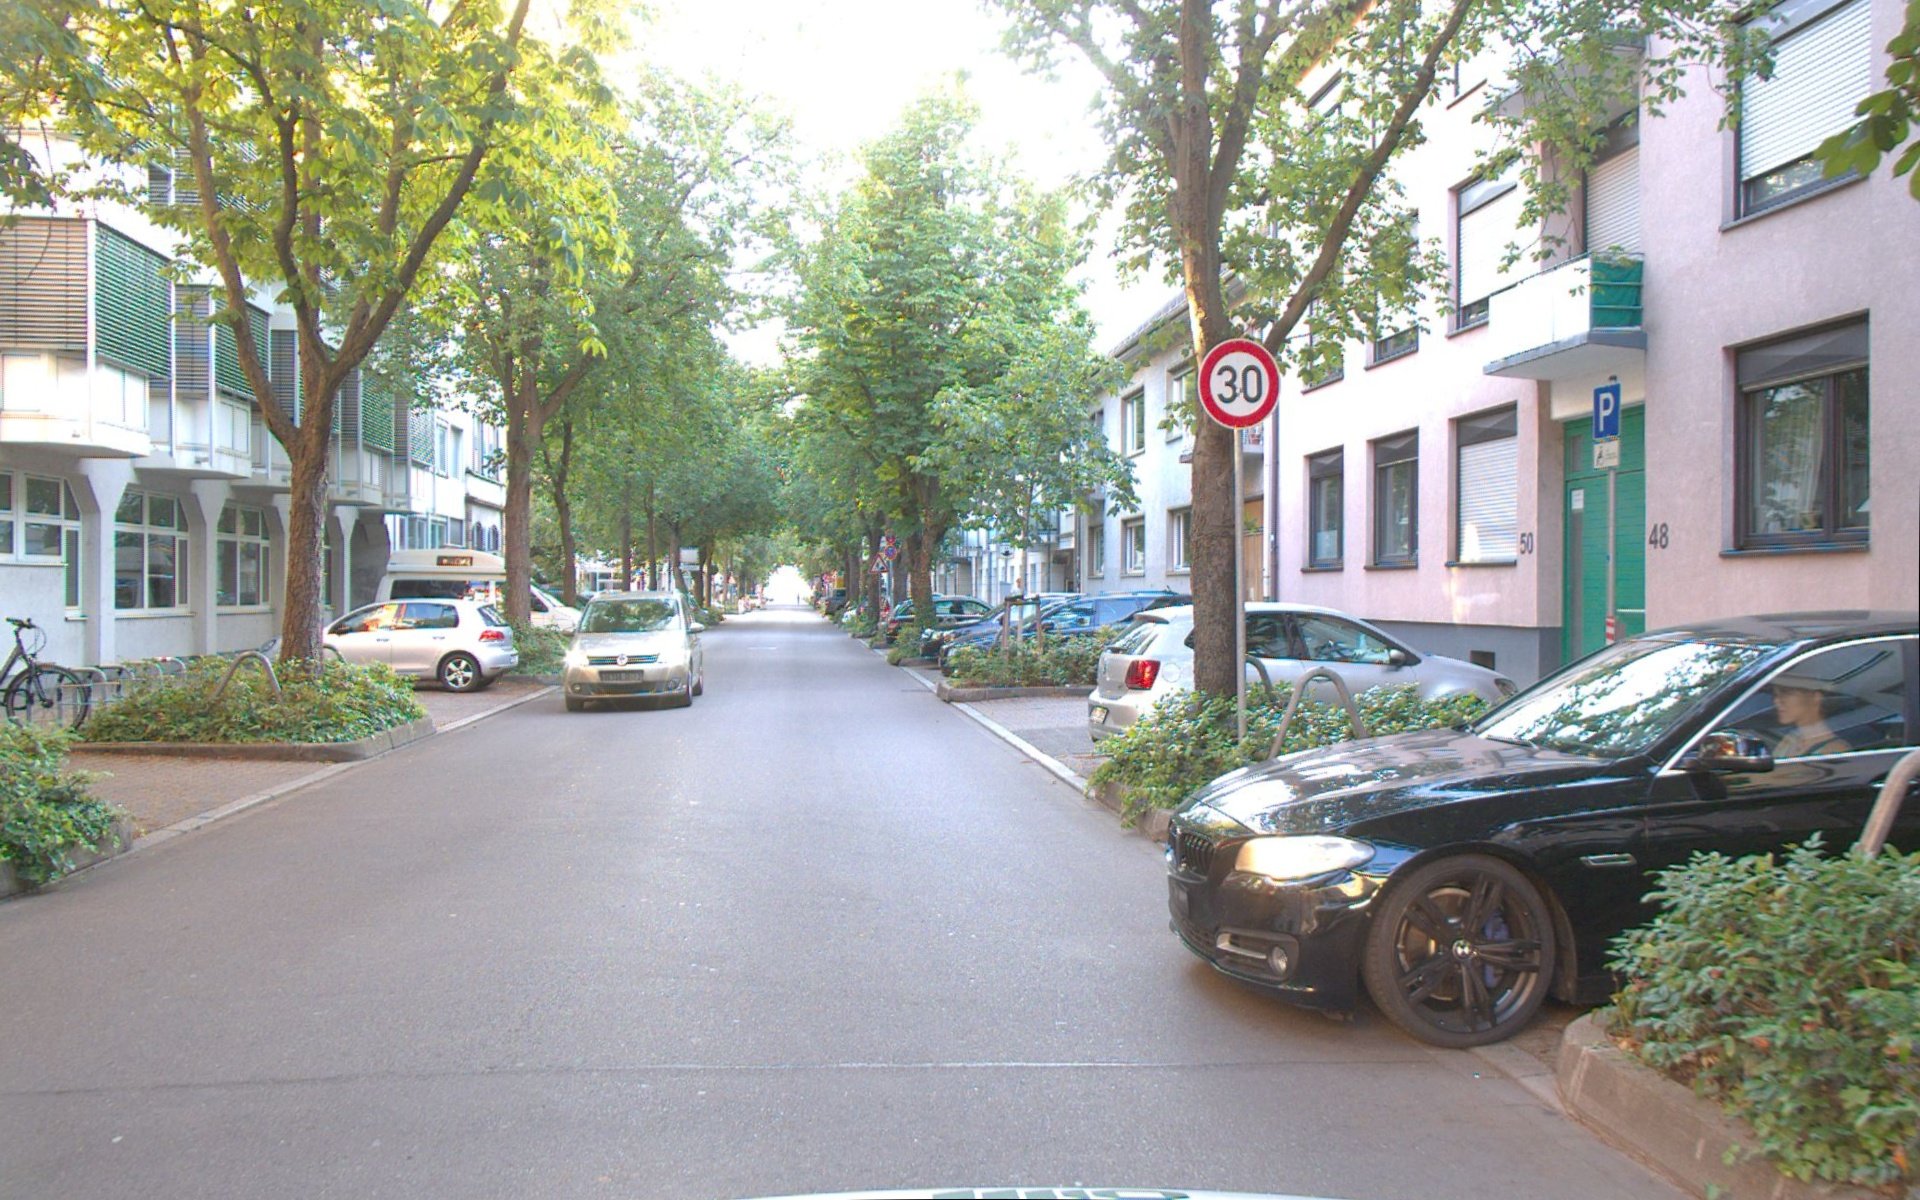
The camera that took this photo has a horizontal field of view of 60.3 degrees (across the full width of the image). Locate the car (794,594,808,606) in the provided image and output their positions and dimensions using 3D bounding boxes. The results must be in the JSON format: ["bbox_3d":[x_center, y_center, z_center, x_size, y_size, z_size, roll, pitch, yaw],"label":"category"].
[{"bbox_3d":[-21.878,0.003,227.940,1.787,1.557,3.996,1,0,-5],"label":"car"}]

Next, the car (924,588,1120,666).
[{"bbox_3d":[1.265,0.544,34.780,3.892,1.554,1.783,0,0,-7],"label":"car"}]

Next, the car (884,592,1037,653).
[{"bbox_3d":[-0.018,0.563,43.597,3.892,1.554,1.783,0,0,-7],"label":"car"}]

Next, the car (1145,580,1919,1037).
[{"bbox_3d":[3.210,0.679,6.603,4.653,1.506,1.798,0,0,-6],"label":"car"}]

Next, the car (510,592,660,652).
[{"bbox_3d":[-10.542,0.601,46.729,3.890,1.647,1.783,0,0,-5],"label":"car"}]

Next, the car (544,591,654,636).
[{"bbox_3d":[-13.748,0.497,63.213,3.890,1.647,1.783,0,0,-5],"label":"car"}]

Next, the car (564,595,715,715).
[{"bbox_3d":[-4.604,0.727,24.257,1.744,1.589,4.164,0,0,-5],"label":"car"}]

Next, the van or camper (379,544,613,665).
[{"bbox_3d":[-9.932,0.081,35.736,4.574,2.521,1.997,0,0,-6],"label":"van or camper"}]

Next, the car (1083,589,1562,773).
[{"bbox_3d":[3.141,0.661,14.692,3.835,1.502,1.662,0,0,-8],"label":"car"}]

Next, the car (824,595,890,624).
[{"bbox_3d":[-6.213,0.557,99.448,3.890,1.713,1.783,0,0,-5],"label":"car"}]

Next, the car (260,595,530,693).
[{"bbox_3d":[-9.280,0.703,27.417,3.890,1.544,1.783,0,0,-5],"label":"car"}]

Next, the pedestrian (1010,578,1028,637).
[{"bbox_3d":[2.042,0.257,57.314,0.577,2.049,0.669,0,0,-5],"label":"pedestrian"}]

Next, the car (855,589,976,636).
[{"bbox_3d":[-1.512,0.405,55.472,3.893,1.554,1.782,0,0,-8],"label":"car"}]

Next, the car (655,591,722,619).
[{"bbox_3d":[-16.514,0.300,100.700,3.890,1.647,1.783,0,0,-5],"label":"car"}]

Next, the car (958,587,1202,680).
[{"bbox_3d":[2.004,0.548,28.294,3.893,1.502,1.782,0,0,-8],"label":"car"}]

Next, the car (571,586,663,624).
[{"bbox_3d":[-15.487,0.215,74.824,3.890,1.647,1.783,0,0,-5],"label":"car"}]
